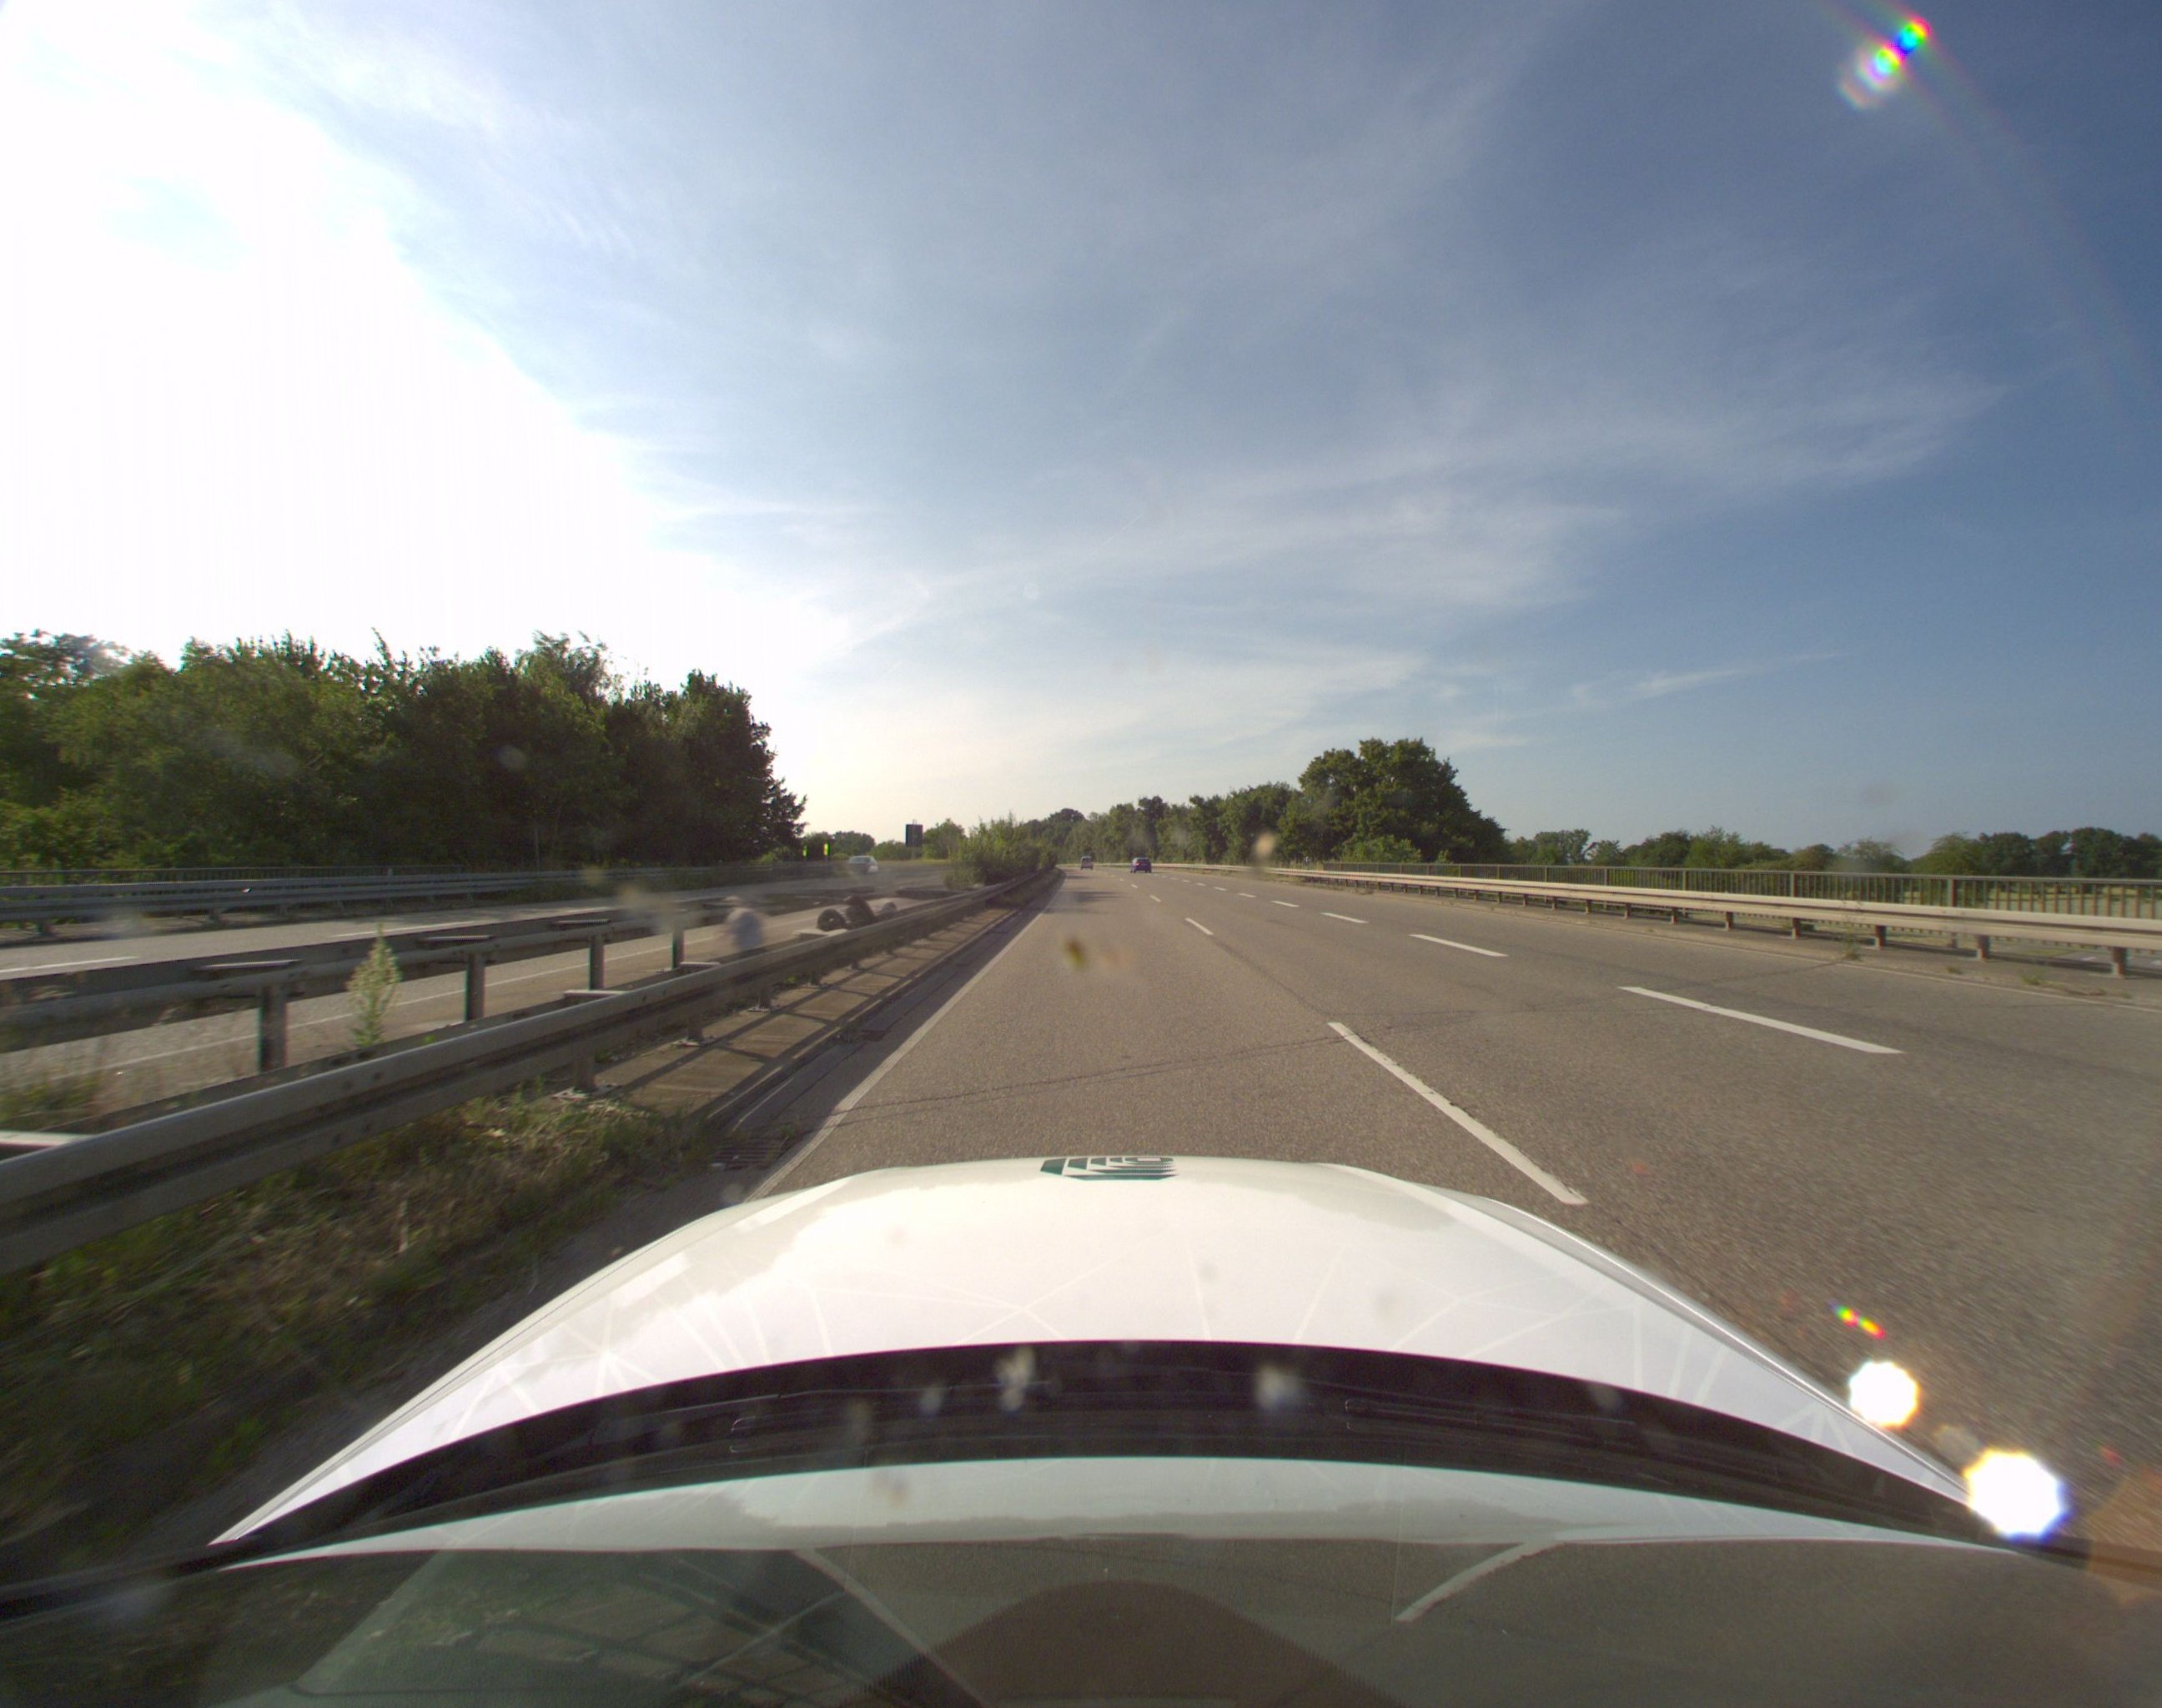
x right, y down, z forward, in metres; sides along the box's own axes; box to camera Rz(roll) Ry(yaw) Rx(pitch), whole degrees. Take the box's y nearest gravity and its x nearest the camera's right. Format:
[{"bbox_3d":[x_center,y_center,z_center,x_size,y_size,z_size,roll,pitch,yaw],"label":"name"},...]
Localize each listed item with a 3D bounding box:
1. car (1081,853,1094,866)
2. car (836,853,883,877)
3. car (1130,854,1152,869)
[{"bbox_3d":[0.907,0.764,115.315,1.761,1.882,3.997,-1,0,-2],"label":"car"},{"bbox_3d":[-14.211,0.683,52.534,1.948,1.452,4.104,-1,0,-2],"label":"car"},{"bbox_3d":[5.856,0.738,79.458,1.774,1.451,3.998,-1,-1,-1],"label":"car"}]
